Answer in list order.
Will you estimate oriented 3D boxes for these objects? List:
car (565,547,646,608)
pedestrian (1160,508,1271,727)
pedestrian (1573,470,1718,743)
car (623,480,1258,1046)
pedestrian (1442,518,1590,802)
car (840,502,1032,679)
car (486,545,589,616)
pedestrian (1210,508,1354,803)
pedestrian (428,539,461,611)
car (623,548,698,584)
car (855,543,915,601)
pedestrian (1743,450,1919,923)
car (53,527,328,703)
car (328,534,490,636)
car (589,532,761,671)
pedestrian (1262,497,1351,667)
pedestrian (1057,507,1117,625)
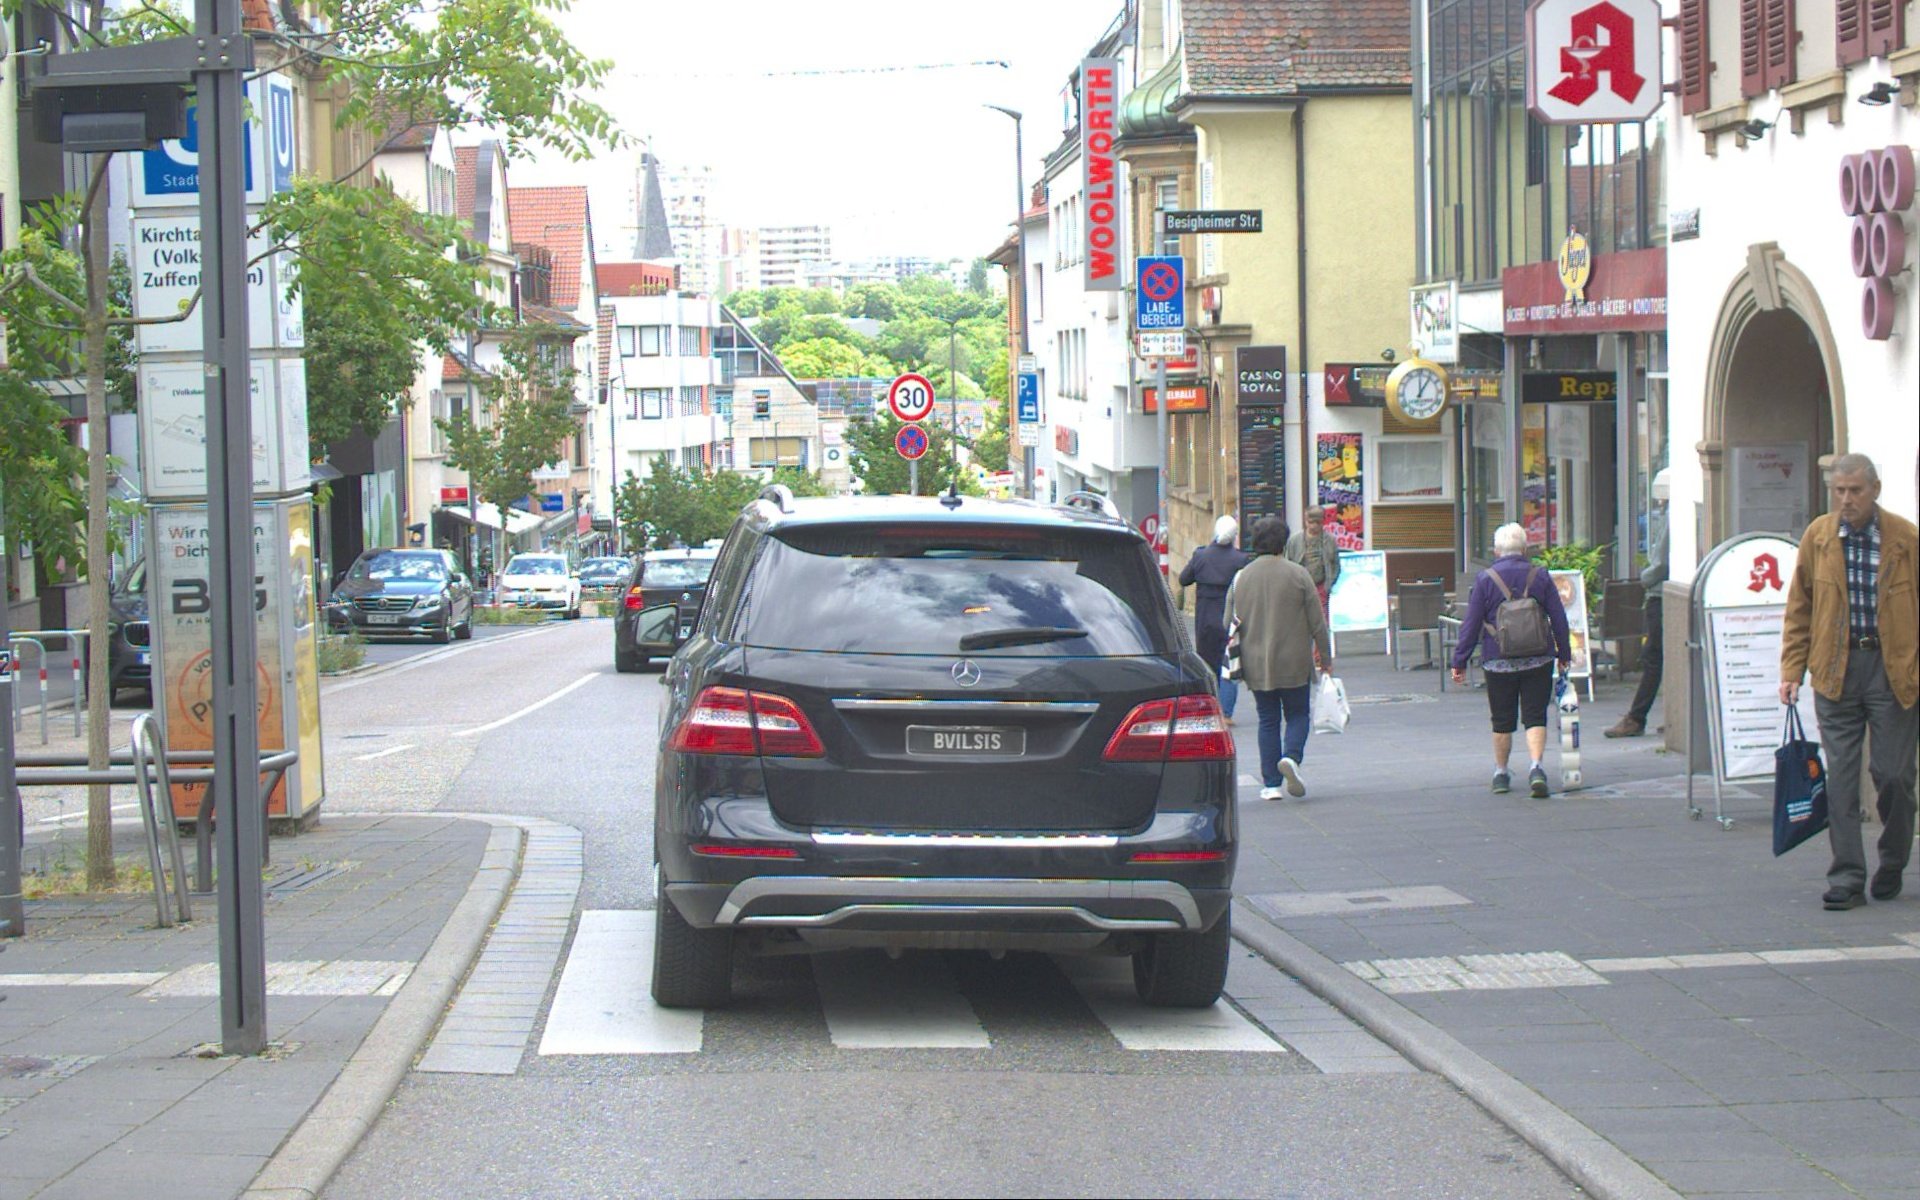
[{"bbox_3d":[-9.643,-0.608,93.833,1.926,1.616,4.640,0,0,-2],"label":"car"},{"bbox_3d":[1.991,0.129,26.745,0.824,1.660,0.802,-1,1,5],"label":"pedestrian"},{"bbox_3d":[4.554,0.035,22.871,0.774,1.763,0.817,-1,1,0],"label":"pedestrian"},{"bbox_3d":[-0.195,0.466,12.685,1.943,1.734,4.179,1,1,-4],"label":"car"},{"bbox_3d":[3.065,0.320,19.015,0.724,1.526,0.808,-1,1,5],"label":"pedestrian"},{"bbox_3d":[-0.196,-0.150,37.687,1.877,1.793,4.732,-1,1,2],"label":"car"},{"bbox_3d":[-9.368,-0.457,76.570,1.926,1.506,4.262,1,1,-2],"label":"car"},{"bbox_3d":[1.832,0.303,19.618,0.772,1.639,0.870,-1,1,5],"label":"pedestrian"},{"bbox_3d":[-10.604,-0.522,70.733,0.491,1.458,0.559,-1,1,8],"label":"pedestrian"},{"bbox_3d":[-16.562,-1.880,190.177,3.986,1.744,2.000,-3,0,-5],"label":"car"},{"bbox_3d":[-2.665,-1.004,121.265,1.938,1.885,4.707,-3,1,-2],"label":"car"},{"bbox_3d":[3.520,0.324,13.423,0.786,1.795,0.676,-1,1,5],"label":"pedestrian"},{"bbox_3d":[-8.057,0.098,36.421,2.006,1.688,4.608,0,2,-2],"label":"car"},{"bbox_3d":[-8.576,-0.275,53.866,1.926,1.487,4.843,1,1,-2],"label":"car"},{"bbox_3d":[-3.349,-0.020,40.943,1.785,1.535,3.745,-1,1,-1],"label":"car"},{"bbox_3d":[3.547,-0.193,35.242,0.864,1.701,0.945,-1,1,5],"label":"pedestrian"},{"bbox_3d":[1.901,-0.511,51.533,0.796,1.721,1.053,-2,1,-1],"label":"pedestrian"}]
